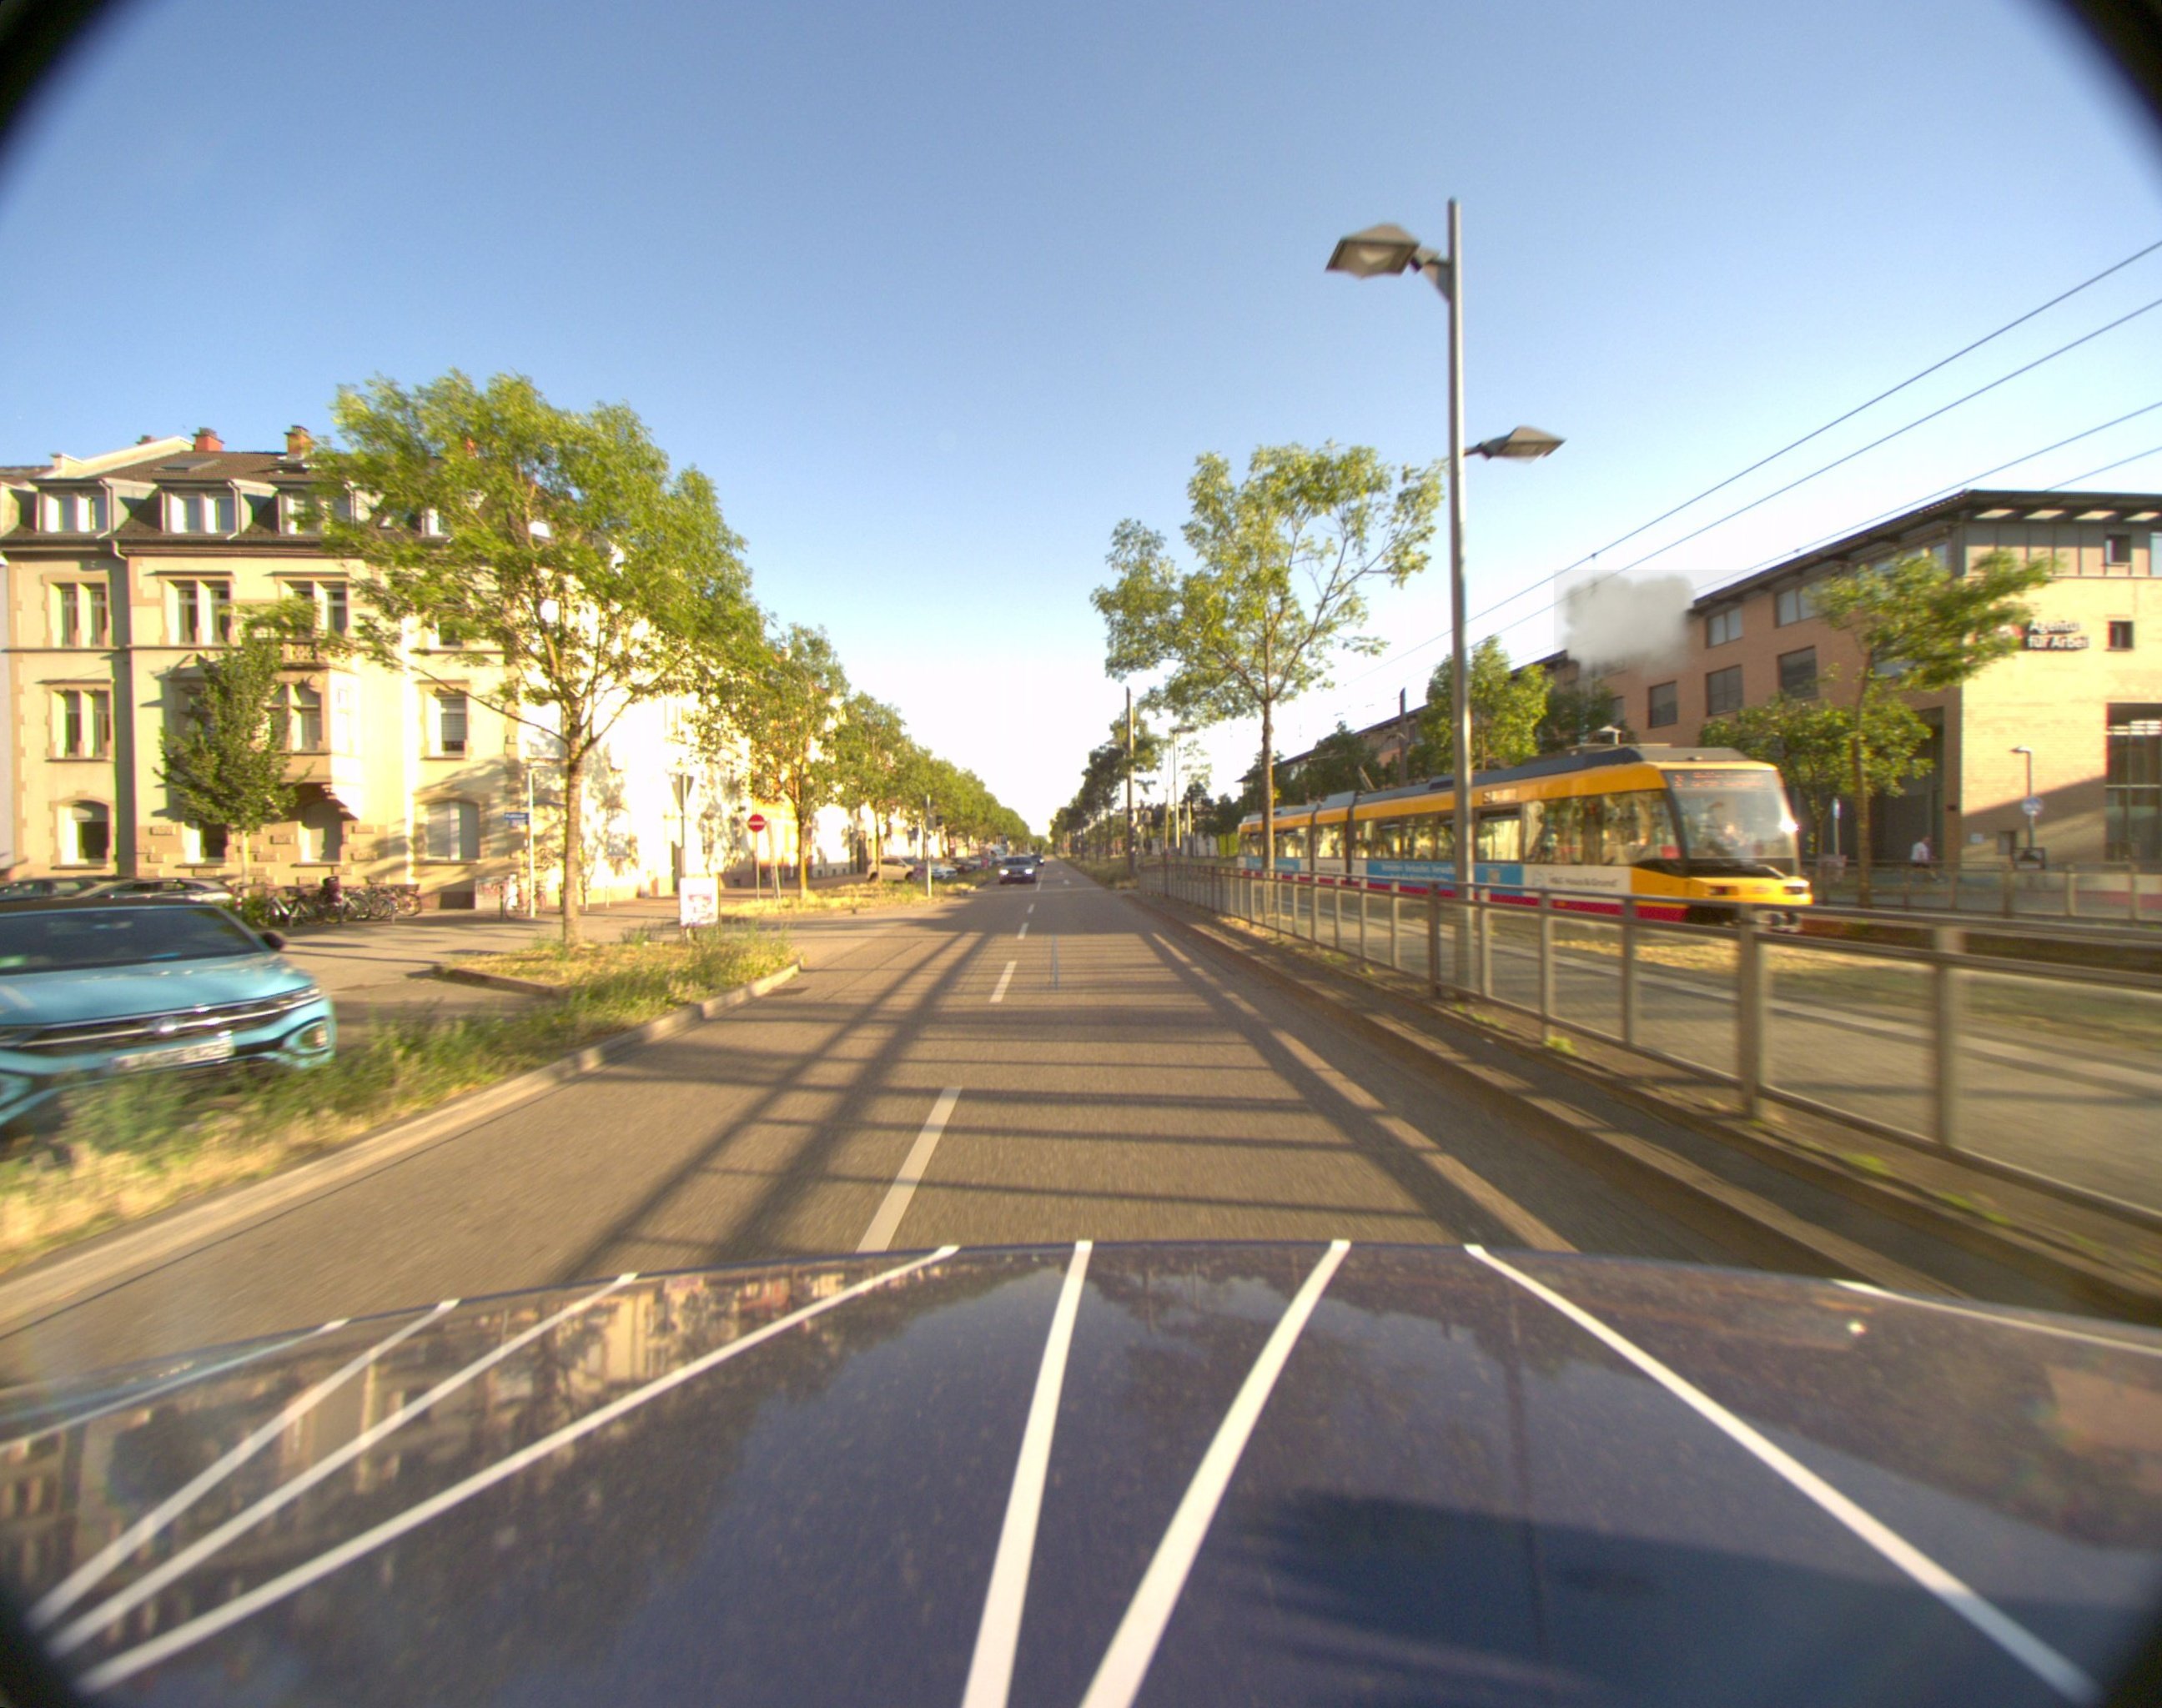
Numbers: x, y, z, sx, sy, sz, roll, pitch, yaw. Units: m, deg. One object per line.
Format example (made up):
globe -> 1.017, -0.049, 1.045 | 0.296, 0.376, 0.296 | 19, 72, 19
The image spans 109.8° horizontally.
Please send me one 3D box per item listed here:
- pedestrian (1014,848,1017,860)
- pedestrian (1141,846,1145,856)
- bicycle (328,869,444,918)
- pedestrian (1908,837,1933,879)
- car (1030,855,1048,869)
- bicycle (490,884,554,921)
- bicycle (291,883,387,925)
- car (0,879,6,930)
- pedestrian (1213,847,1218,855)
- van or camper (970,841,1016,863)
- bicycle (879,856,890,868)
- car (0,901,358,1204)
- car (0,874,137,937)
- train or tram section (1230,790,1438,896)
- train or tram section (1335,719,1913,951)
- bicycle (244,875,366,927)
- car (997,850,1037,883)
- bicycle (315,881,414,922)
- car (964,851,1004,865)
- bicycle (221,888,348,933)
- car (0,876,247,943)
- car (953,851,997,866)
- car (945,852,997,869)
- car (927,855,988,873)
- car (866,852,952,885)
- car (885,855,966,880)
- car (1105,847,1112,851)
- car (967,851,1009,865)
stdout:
pedestrian -> -10.819, -0.034, 125.847 | 0.514, 2.002, 0.598 | -1, 1, -2
pedestrian -> 10.415, -0.515, 127.614 | 0.515, 1.675, 0.548 | -2, 1, -29
bicycle -> -21.044, 1.184, 23.050 | 2.672, 1.376, 0.730 | -1, 1, -6
pedestrian -> 30.433, 0.129, 27.538 | 0.546, 1.497, 0.532 | 0, 1, 41
car -> -5.101, 0.987, 92.752 | 1.870, 1.587, 3.951 | -1, 0, 0
bicycle -> -16.159, 1.384, 22.005 | 0.461, 0.868, 1.883 | 4, 1, -2
bicycle -> -20.997, 1.400, 21.529 | 1.978, 1.117, 0.575 | -1, 1, -6
car -> -32.621, 1.487, 20.520 | 1.864, 1.466, 3.716 | -1, 0, 18
pedestrian -> 22.290, -0.463, 125.972 | 0.587, 1.360, 0.575 | -1, 2, -8
van or camper -> -11.377, -0.294, 98.555 | 5.636, 2.796, 2.208 | -1, 1, 30
bicycle -> -19.089, 0.785, 73.799 | 0.589, 1.072, 2.227 | 1, 0, -2
car -> -7.531, 1.205, 5.743 | 4.276, 1.513, 1.850 | -1, 1, 31
car -> -29.479, 1.423, 20.941 | 1.864, 1.567, 3.879 | -1, 0, 19
train or tram section -> 9.801, -0.440, 32.480 | 3.440, 3.410, 15.022 | -1, 1, -2
train or tram section -> 10.262, -0.353, 18.014 | 3.440, 3.320, 13.853 | -1, 1, -2
bicycle -> -20.966, 1.245, 20.568 | 2.356, 1.312, 0.730 | -1, 1, -6
car -> -3.397, 0.643, 40.944 | 1.999, 1.655, 3.998 | -1, 1, -3
bicycle -> -20.892, 1.382, 22.182 | 2.211, 1.099, 0.538 | -1, 1, -6
car -> -10.535, 0.441, 82.559 | 4.042, 1.429, 1.730 | -1, 1, 26
bicycle -> -20.701, 1.462, 19.790 | 2.335, 1.044, 0.730 | -1, 1, -6
car -> -26.547, 1.441, 21.079 | 1.863, 1.483, 4.208 | -1, 0, 28
car -> -11.198, 0.462, 79.850 | 4.424, 1.408, 1.889 | -2, 0, 34
car -> -10.016, 0.592, 69.152 | 4.633, 1.501, 1.851 | -1, 1, 33
car -> -9.633, 0.802, 59.207 | 4.570, 1.340, 1.900 | -1, 1, 31
car -> -9.179, 0.769, 40.436 | 4.420, 1.681, 1.920 | -1, 0, 33
car -> -9.507, 0.810, 46.449 | 4.543, 1.392, 2.034 | -1, 1, 29
car -> 9.504, -1.690, 261.926 | 1.795, 1.368, 3.999 | -2, 1, -3
car -> -10.499, 0.452, 85.576 | 4.424, 1.415, 1.926 | -2, 0, 30
